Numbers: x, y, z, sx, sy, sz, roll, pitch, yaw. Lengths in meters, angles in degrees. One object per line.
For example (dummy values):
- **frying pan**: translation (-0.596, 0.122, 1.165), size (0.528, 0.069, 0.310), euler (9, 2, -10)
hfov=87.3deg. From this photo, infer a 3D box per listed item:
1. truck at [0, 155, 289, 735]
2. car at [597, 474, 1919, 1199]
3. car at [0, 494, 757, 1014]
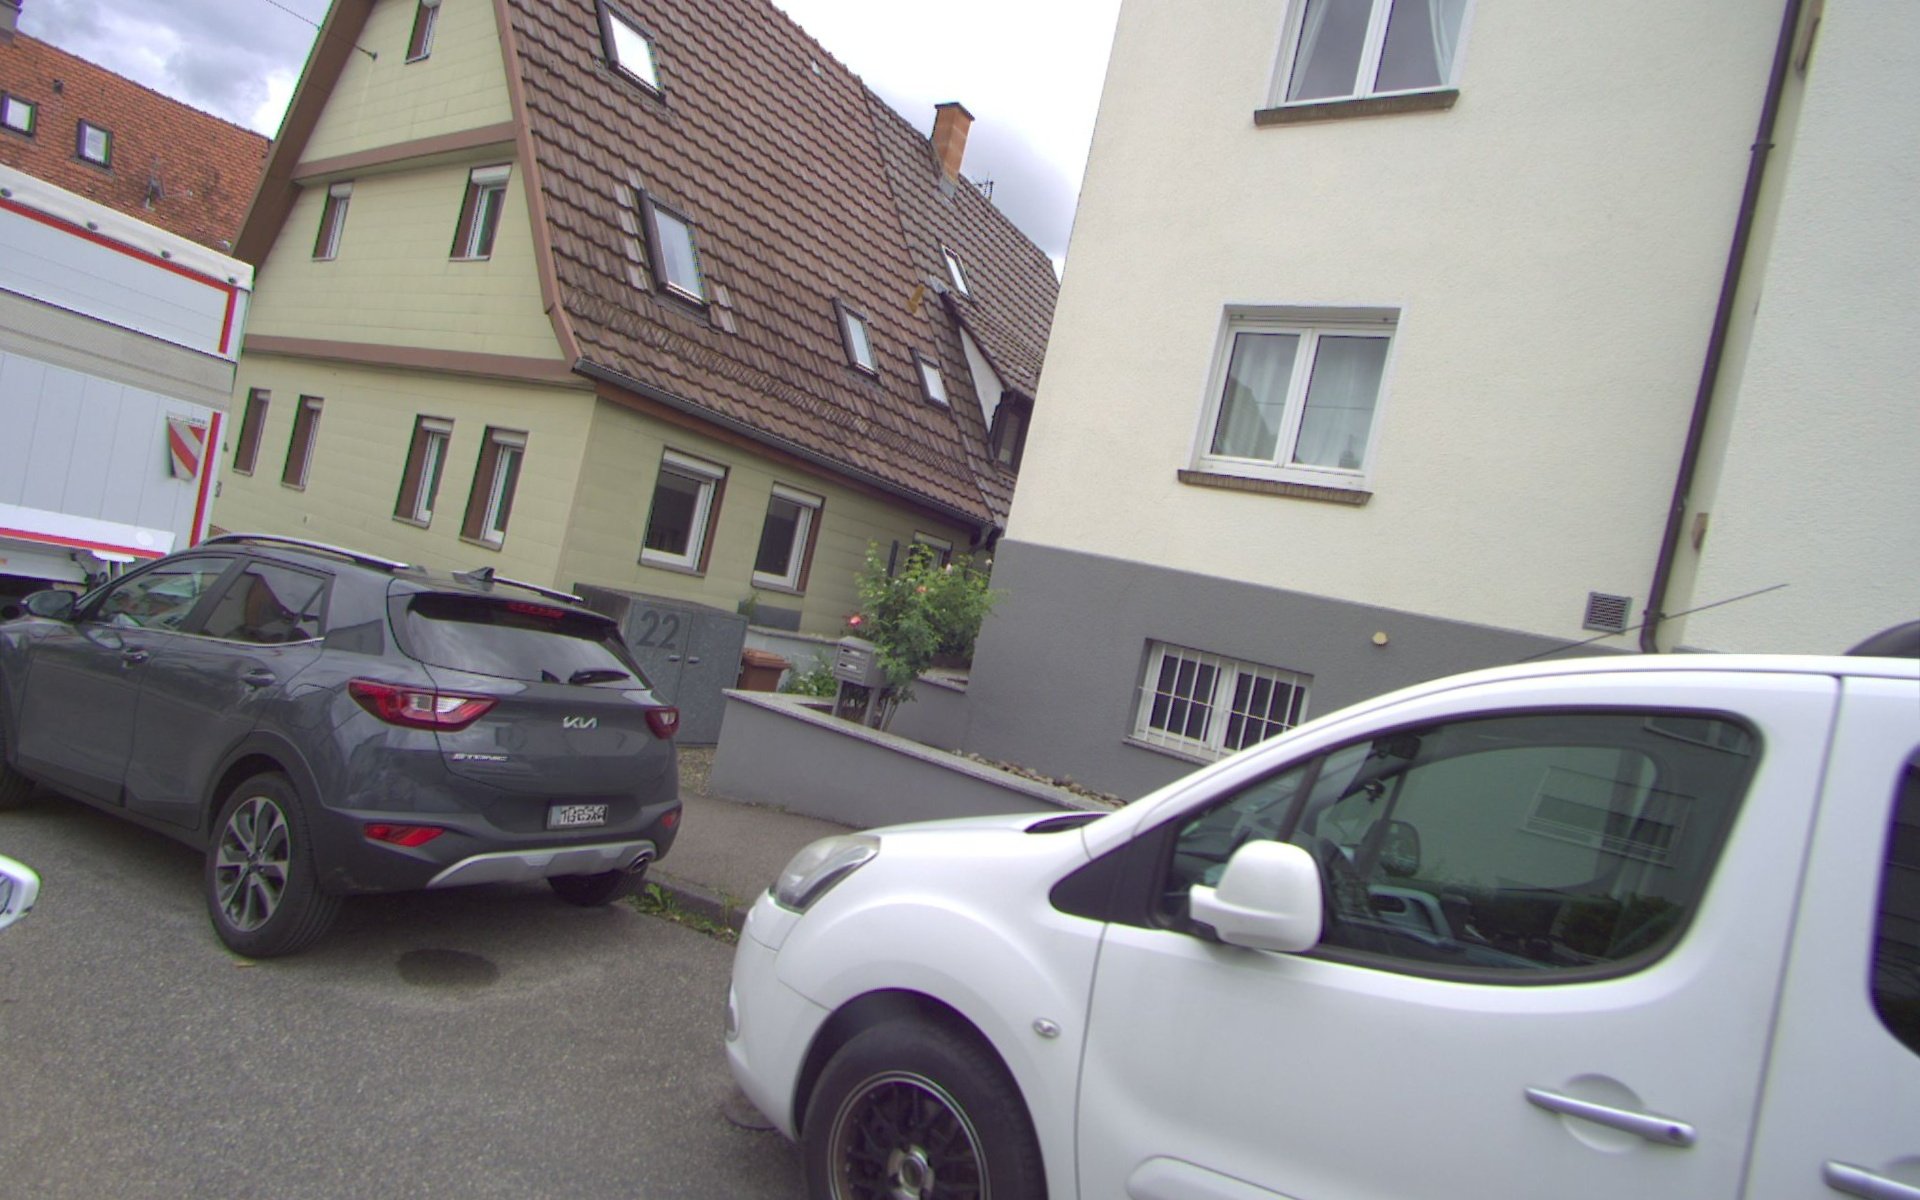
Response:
- **truck**: translation (-9.613, -1.407, 8.412), size (7.963, 3.636, 2.686), euler (8, -3, 27)
- **car**: translation (1.420, 0.928, 2.399), size (4.232, 1.833, 1.841), euler (7, -4, 32)
- **car**: translation (-3.221, 0.503, 4.999), size (3.981, 1.521, 1.740), euler (7, -5, 29)
